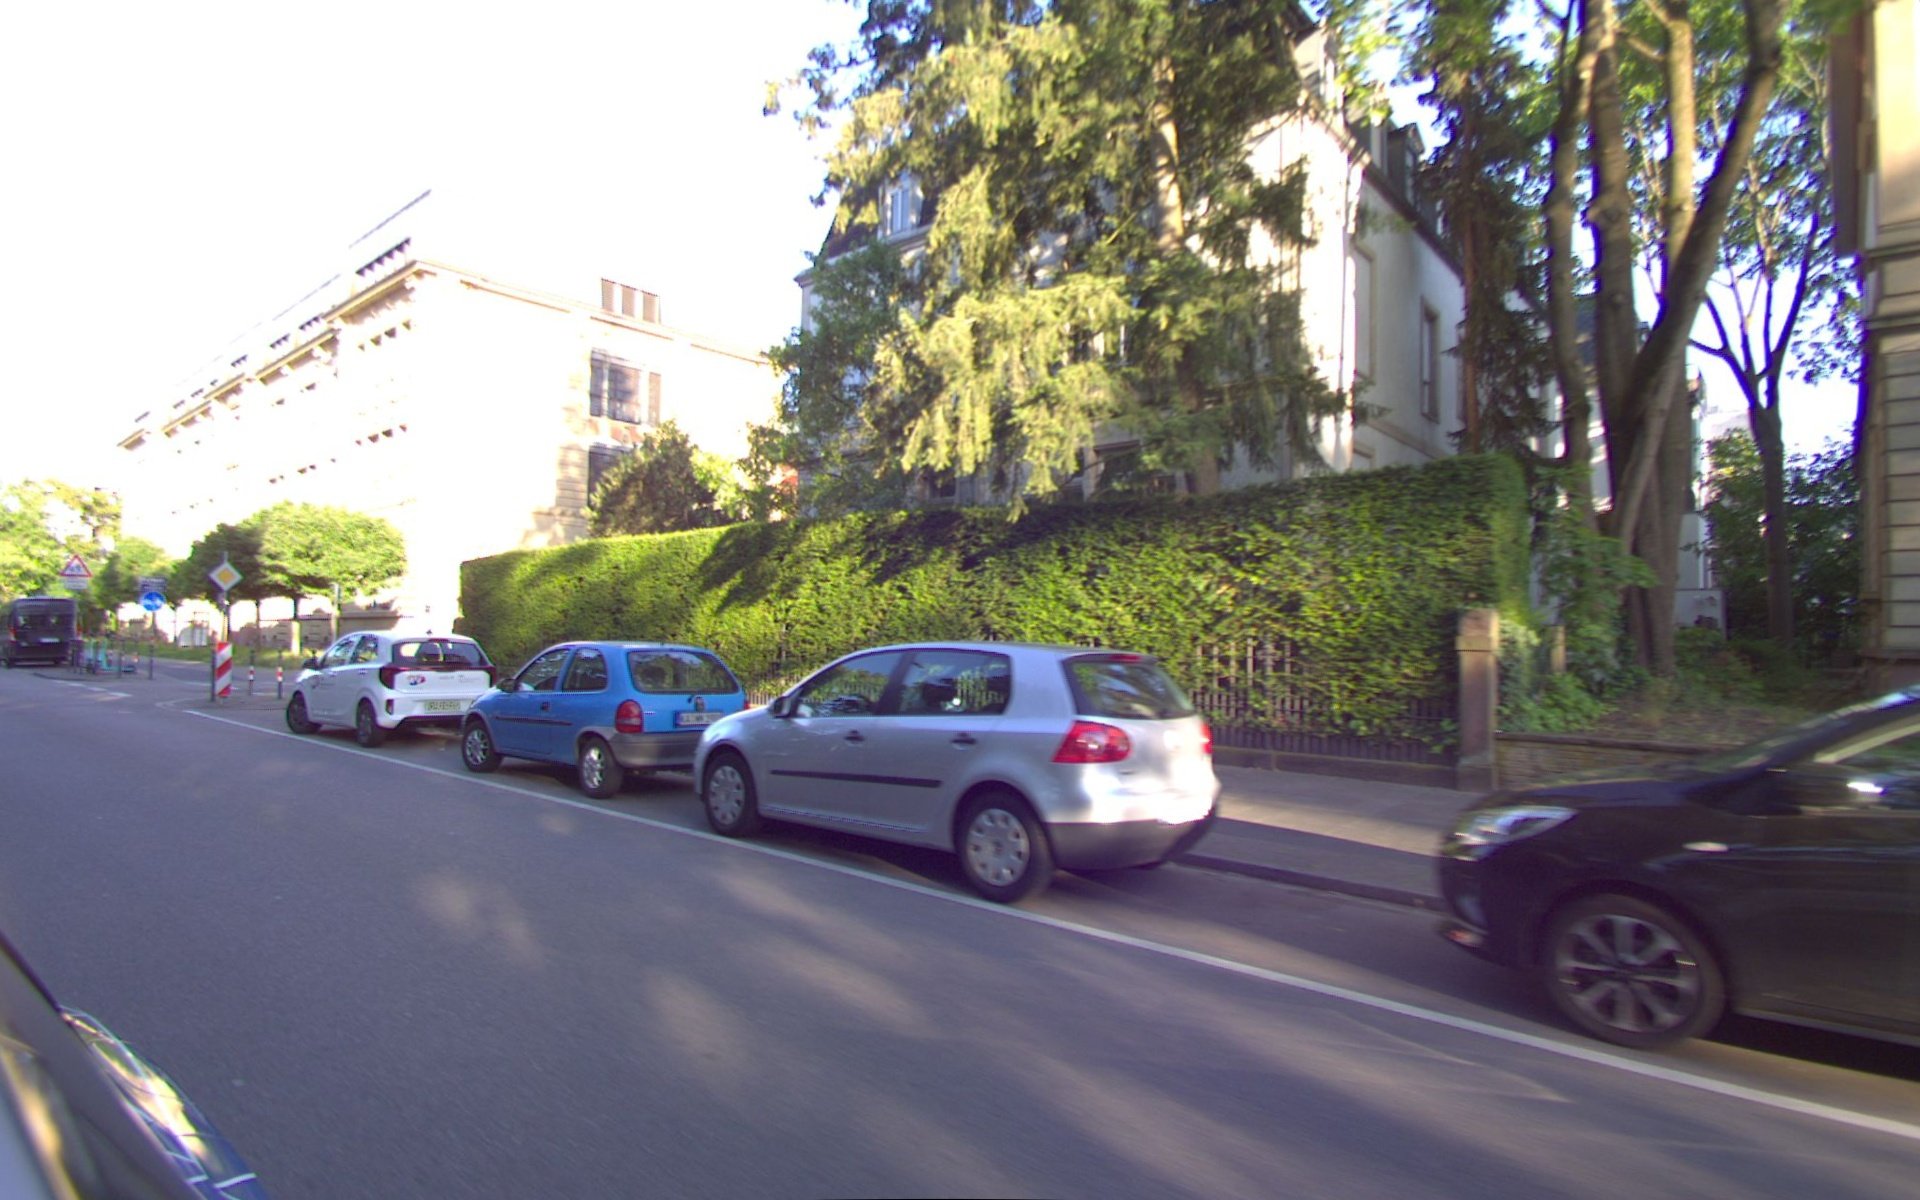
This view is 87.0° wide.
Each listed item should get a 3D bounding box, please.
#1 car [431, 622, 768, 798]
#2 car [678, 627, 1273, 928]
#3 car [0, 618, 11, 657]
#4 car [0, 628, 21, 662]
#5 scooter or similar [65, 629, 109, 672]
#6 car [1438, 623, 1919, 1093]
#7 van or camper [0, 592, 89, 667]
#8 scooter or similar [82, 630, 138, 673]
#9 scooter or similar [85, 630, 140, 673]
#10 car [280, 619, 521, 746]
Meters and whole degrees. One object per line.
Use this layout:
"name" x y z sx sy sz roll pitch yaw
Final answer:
"car" -3.829 1.022 10.498 3.740 1.496 1.597 -1 -5 41
"car" -0.102 0.946 6.969 4.034 1.478 1.596 -1 -3 42
"car" -48.744 1.896 50.393 4.330 1.880 1.759 -2 -1 42
"car" -44.556 2.068 46.584 3.854 1.481 1.678 -1 -1 43
"scooter or similar" -26.815 1.528 31.107 0.425 1.284 1.347 1 -2 -14
"car" 4.004 0.870 3.437 4.034 1.478 1.596 -1 -6 42
"van or camper" -34.591 1.065 37.708 7.075 2.564 2.206 -1 -1 41
"scooter or similar" -25.766 1.547 30.705 0.426 1.284 1.341 0 -2 6
"scooter or similar" -26.176 1.574 31.282 0.426 1.284 1.341 0 -2 6
"car" -7.795 1.068 13.982 3.708 1.527 1.597 -1 -5 40
